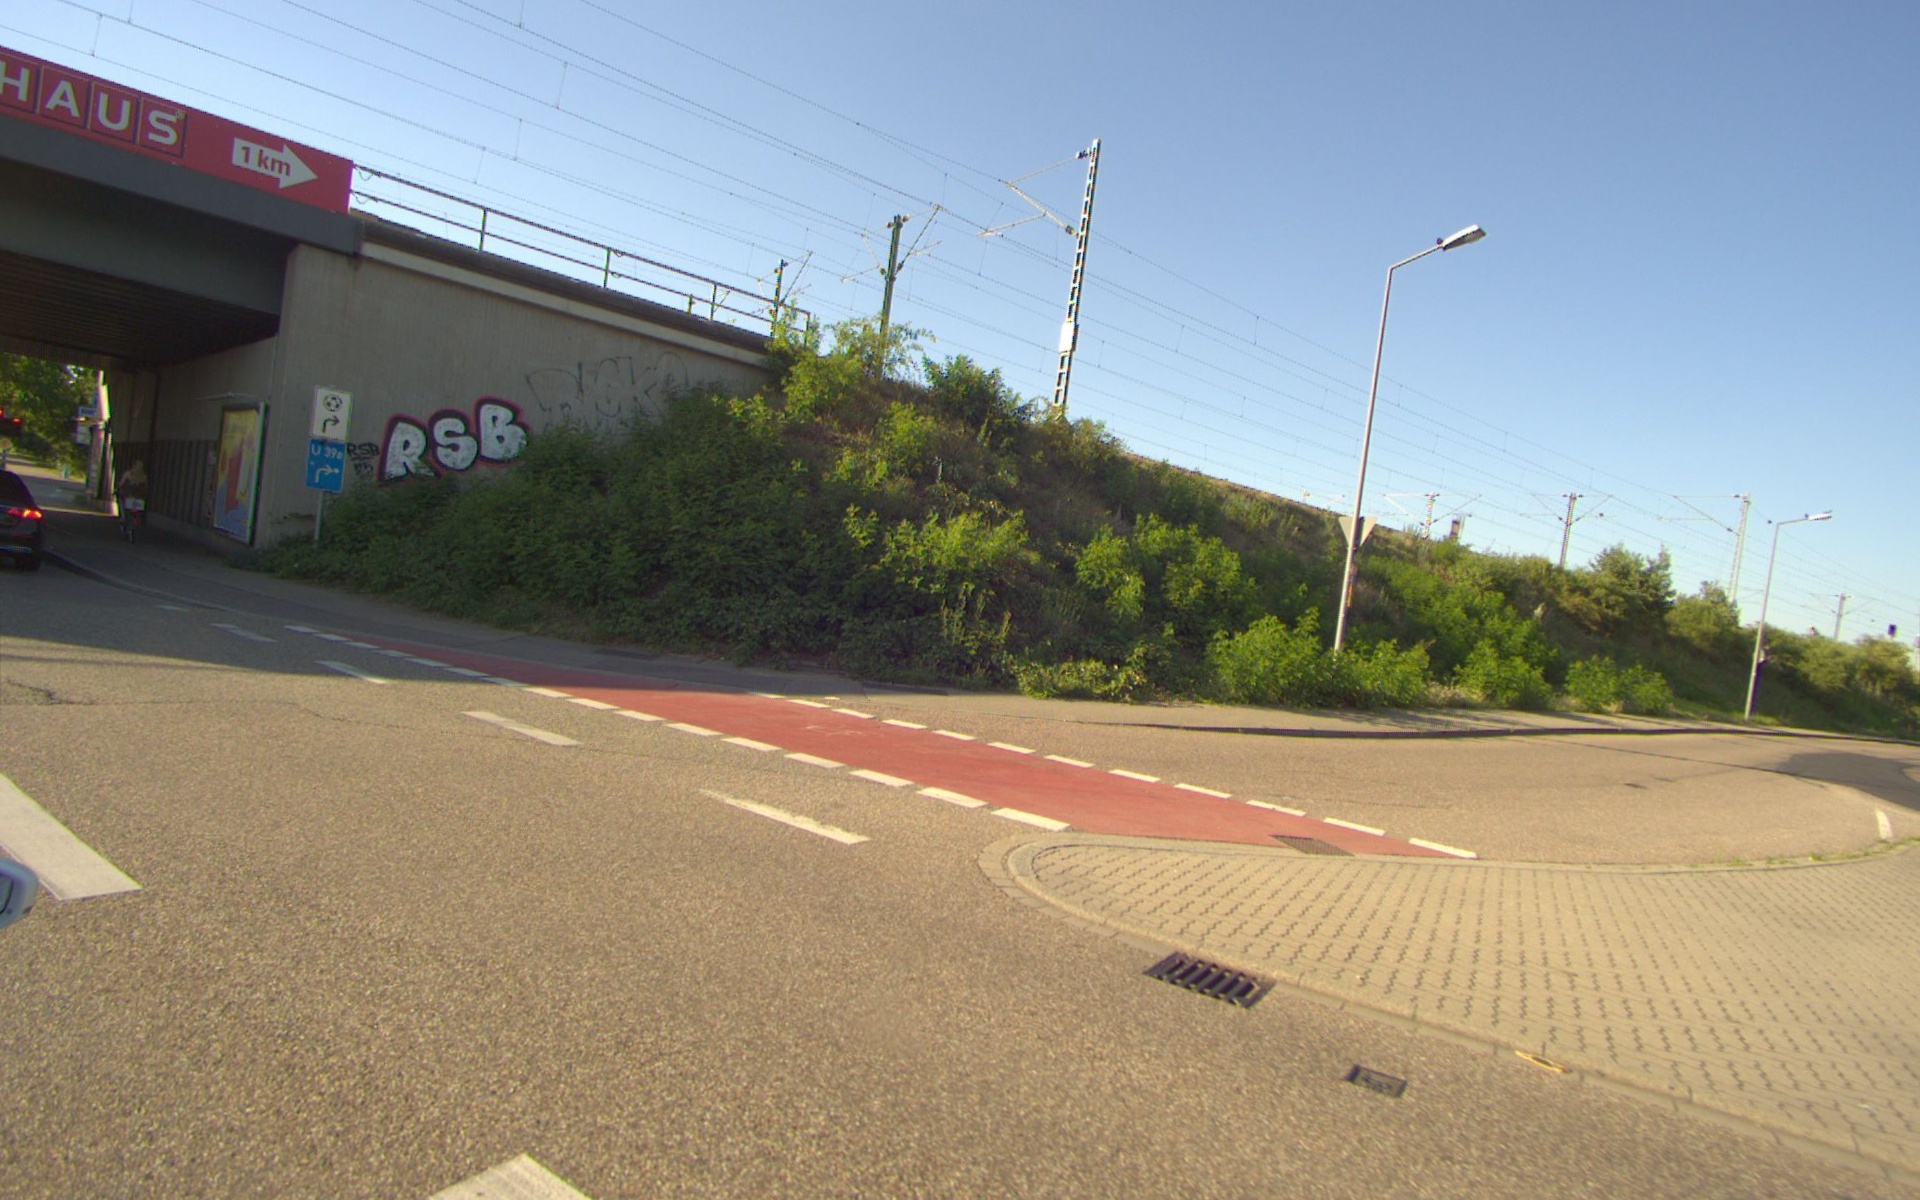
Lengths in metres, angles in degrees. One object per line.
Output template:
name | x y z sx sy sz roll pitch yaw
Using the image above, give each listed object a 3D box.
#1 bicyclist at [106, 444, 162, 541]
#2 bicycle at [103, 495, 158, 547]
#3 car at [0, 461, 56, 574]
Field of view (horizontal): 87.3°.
bicyclist | -17.694 -2.297 21.551 0.822 1.930 0.680 8 1 44
bicycle | -17.846 -1.720 21.621 2.849 0.975 0.577 7 0 45
car | -15.403 -1.466 15.259 4.537 1.472 1.740 9 1 39
